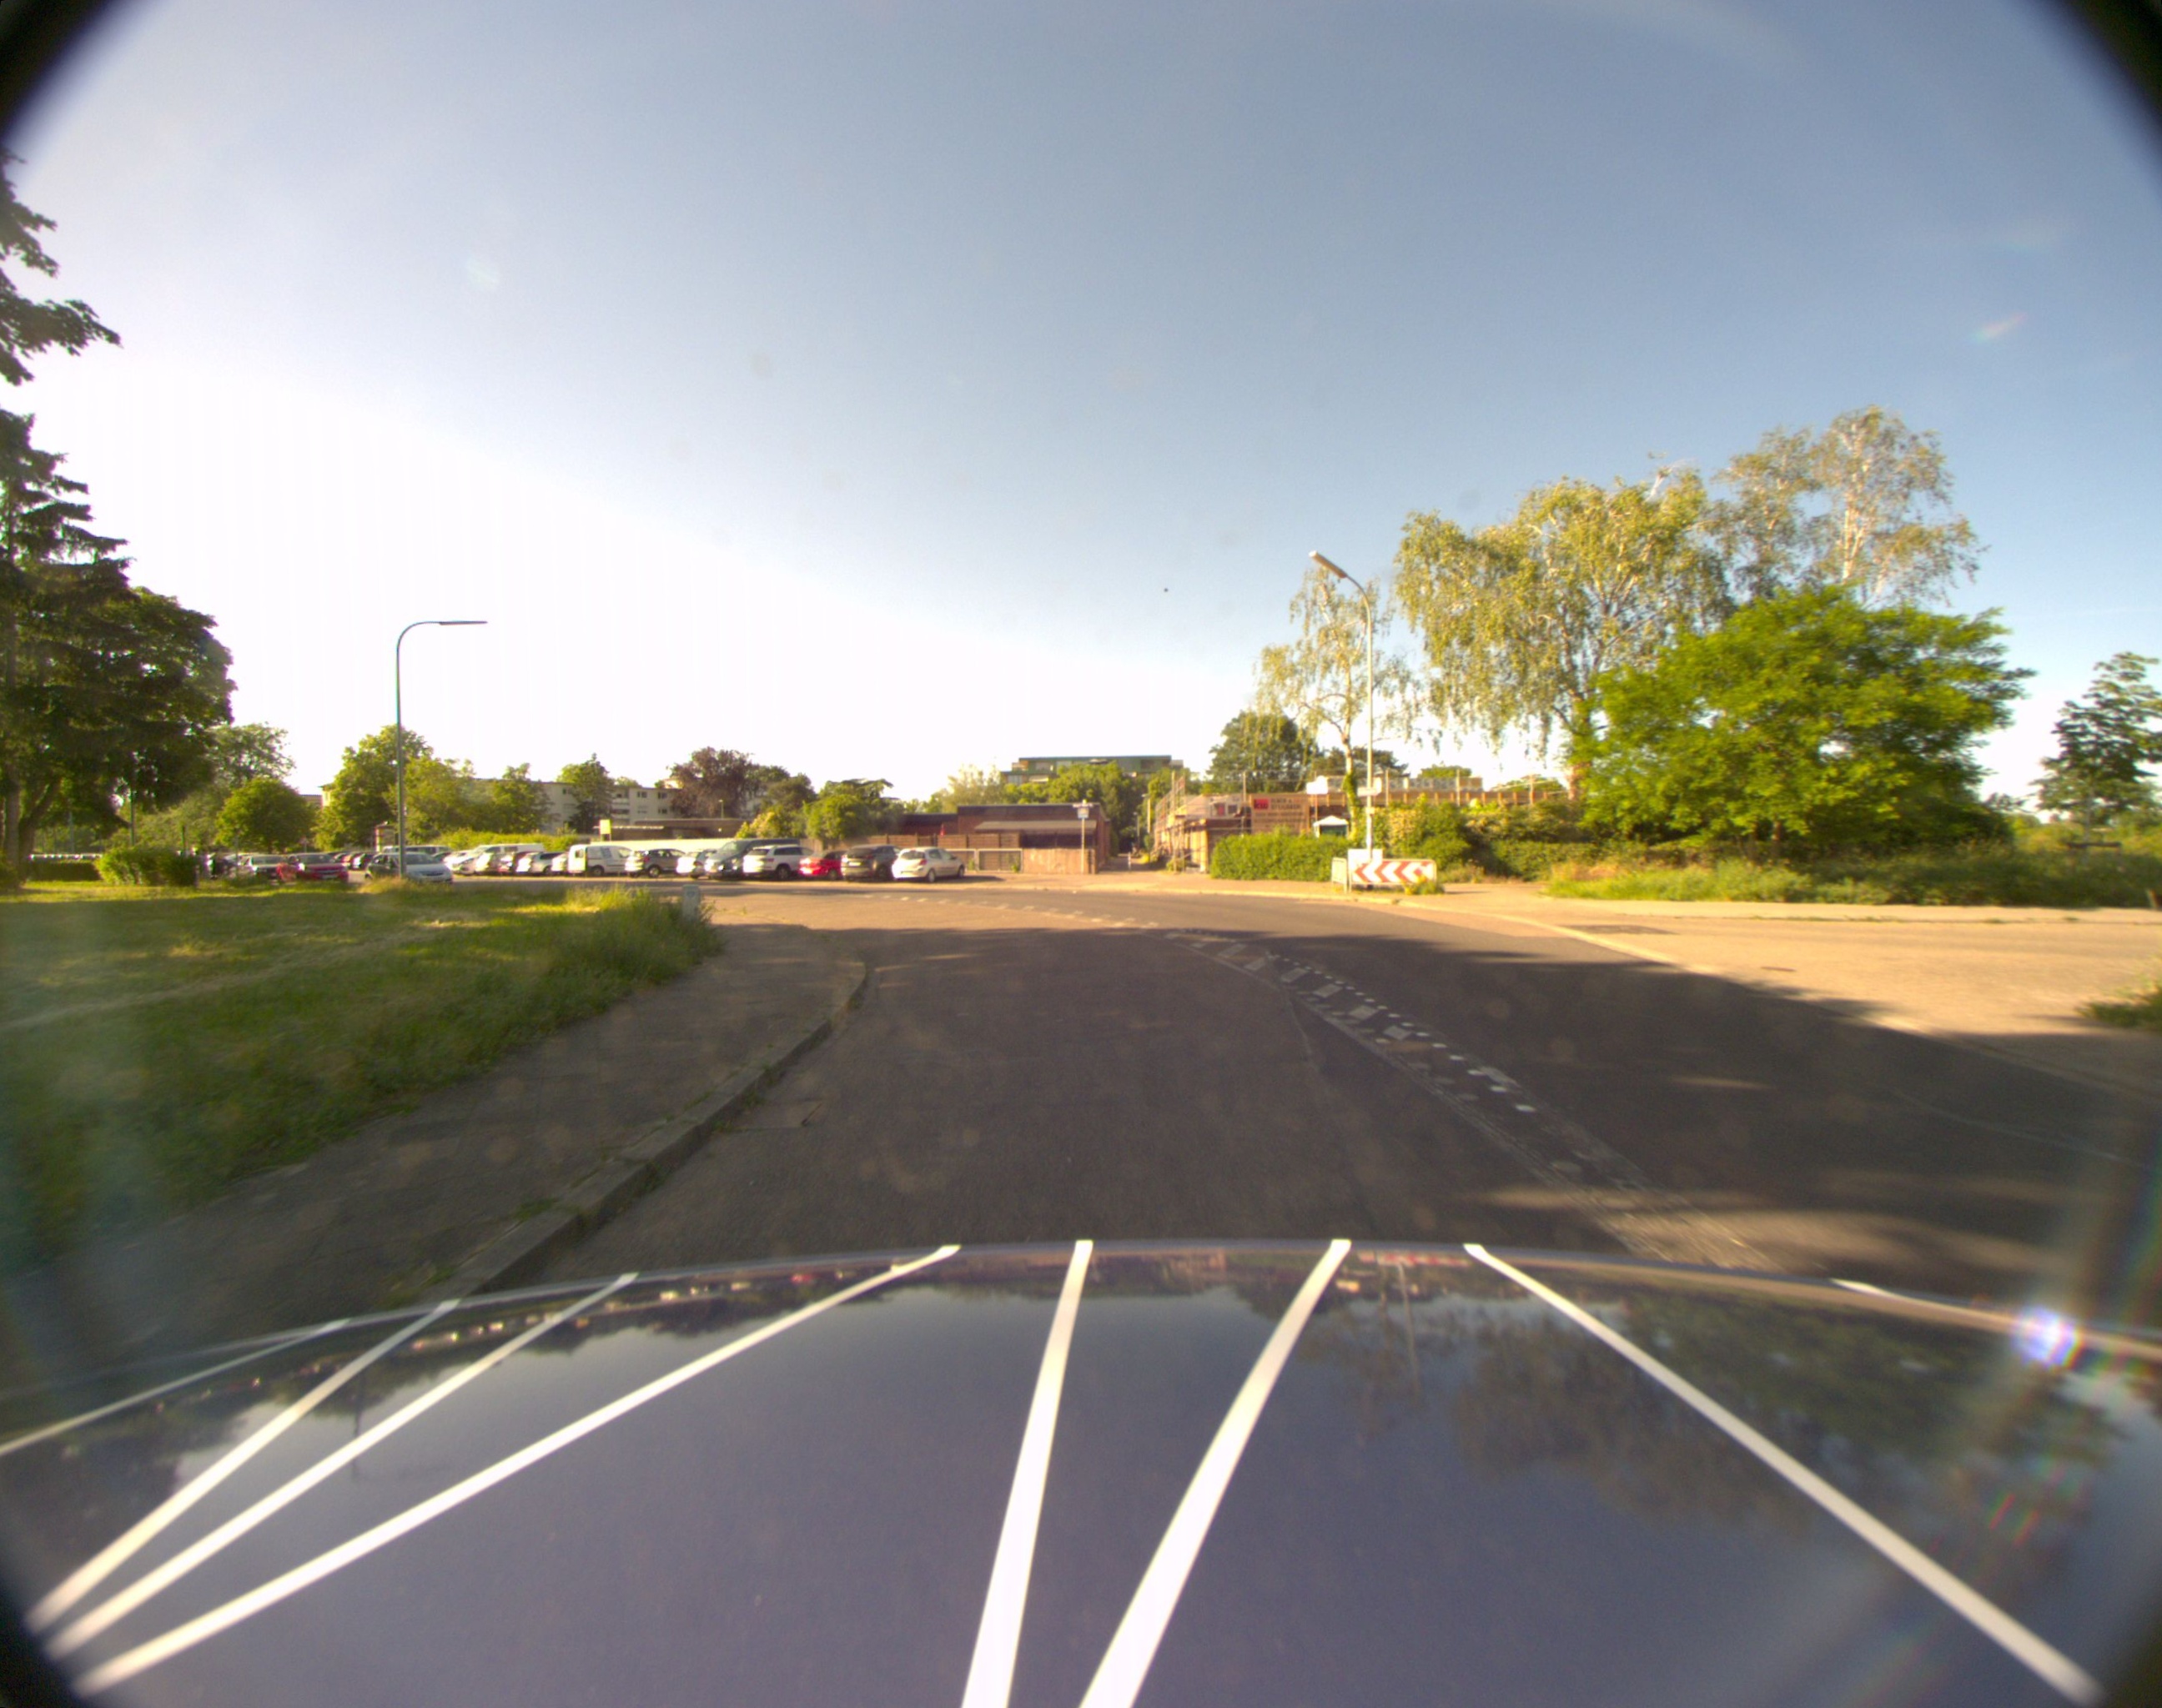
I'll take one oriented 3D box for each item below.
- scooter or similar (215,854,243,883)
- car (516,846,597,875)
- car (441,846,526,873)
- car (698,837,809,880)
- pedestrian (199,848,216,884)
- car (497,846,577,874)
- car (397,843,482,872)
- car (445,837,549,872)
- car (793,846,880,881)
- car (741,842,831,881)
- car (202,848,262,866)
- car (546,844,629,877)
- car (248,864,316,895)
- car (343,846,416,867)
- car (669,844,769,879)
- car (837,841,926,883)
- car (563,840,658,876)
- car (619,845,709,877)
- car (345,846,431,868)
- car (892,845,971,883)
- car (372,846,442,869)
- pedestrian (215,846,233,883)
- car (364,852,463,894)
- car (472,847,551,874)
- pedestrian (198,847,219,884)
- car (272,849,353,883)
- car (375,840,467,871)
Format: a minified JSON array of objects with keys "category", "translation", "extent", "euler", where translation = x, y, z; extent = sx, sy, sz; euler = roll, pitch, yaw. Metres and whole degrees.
[{"category":"scooter or similar","translation":[-37.030,0.637,33.008],"extent":[0.902,1.220,0.626],"euler":[1,1,30]},{"category":"car","translation":[-30.970,0.332,44.945],"extent":[1.632,1.481,3.531],"euler":[1,4,33]},{"category":"car","translation":[-39.834,0.332,50.731],"extent":[1.878,1.574,4.006],"euler":[1,4,34]},{"category":"car","translation":[-15.939,0.150,37.270],"extent":[1.995,1.905,4.894],"euler":[1,2,24]},{"category":"pedestrian","translation":[-36.216,0.499,31.505],"extent":[0.499,1.494,0.363],"euler":[2,1,28]},{"category":"car","translation":[-33.074,0.374,46.264],"extent":[1.632,1.481,3.530],"euler":[-1,2,29]},{"category":"car","translation":[-44.976,0.210,53.330],"extent":[1.878,1.697,4.172],"euler":[2,4,38]},{"category":"car","translation":[-37.458,-0.020,48.881],"extent":[2.076,1.910,4.811],"euler":[0,4,29]},{"category":"car","translation":[-11.295,0.401,35.357],"extent":[1.728,1.337,3.629],"euler":[1,4,28]},{"category":"car","translation":[-13.802,0.296,35.686],"extent":[1.728,1.598,3.629],"euler":[1,4,28]},{"category":"car","translation":[-83.084,0.260,74.452],"extent":[1.563,1.449,3.995],"euler":[-1,3,-7]},{"category":"car","translation":[-28.351,0.316,43.778],"extent":[1.723,1.482,3.529],"euler":[3,6,29]},{"category":"car","translation":[-41.695,1.303,39.628],"extent":[3.871,1.395,1.656],"euler":[1,1,31]},{"category":"car","translation":[-57.444,0.216,62.272],"extent":[1.785,1.471,4.006],"euler":[0,3,35]},{"category":"car","translation":[-18.247,0.320,38.493],"extent":[1.920,1.484,4.157],"euler":[1,3,29]},{"category":"car","translation":[-8.838,0.284,34.042],"extent":[1.814,1.603,4.004],"euler":[0,4,21]},{"category":"car","translation":[-26.423,0.191,42.814],"extent":[1.920,1.771,3.995],"euler":[0,3,27]},{"category":"car","translation":[-22.302,0.324,40.781],"extent":[1.784,1.524,3.832],"euler":[1,2,25]},{"category":"car","translation":[-54.246,0.209,59.560],"extent":[1.742,1.471,4.566],"euler":[0,3,35]},{"category":"car","translation":[-6.453,0.379,33.134],"extent":[1.630,1.451,3.703],"euler":[0,2,21]},{"category":"car","translation":[-51.758,0.252,58.415],"extent":[1.876,1.559,3.619],"euler":[0,3,35]},{"category":"pedestrian","translation":[-36.299,0.436,32.172],"extent":[0.595,1.555,0.484],"euler":[2,1,41]},{"category":"car","translation":[-26.942,0.717,30.663],"extent":[3.778,1.534,1.739],"euler":[1,3,28]},{"category":"car","translation":[-35.377,0.395,47.293],"extent":[1.632,1.439,3.530],"euler":[1,4,26]},{"category":"pedestrian","translation":[-37.310,0.468,32.481],"extent":[0.468,1.555,0.488],"euler":[2,1,27]},{"category":"car","translation":[-35.954,0.525,35.537],"extent":[3.778,1.438,1.583],"euler":[1,3,28]},{"category":"car","translation":[-47.396,0.069,54.638],"extent":[1.994,1.966,4.500],"euler":[1,4,34]}]
